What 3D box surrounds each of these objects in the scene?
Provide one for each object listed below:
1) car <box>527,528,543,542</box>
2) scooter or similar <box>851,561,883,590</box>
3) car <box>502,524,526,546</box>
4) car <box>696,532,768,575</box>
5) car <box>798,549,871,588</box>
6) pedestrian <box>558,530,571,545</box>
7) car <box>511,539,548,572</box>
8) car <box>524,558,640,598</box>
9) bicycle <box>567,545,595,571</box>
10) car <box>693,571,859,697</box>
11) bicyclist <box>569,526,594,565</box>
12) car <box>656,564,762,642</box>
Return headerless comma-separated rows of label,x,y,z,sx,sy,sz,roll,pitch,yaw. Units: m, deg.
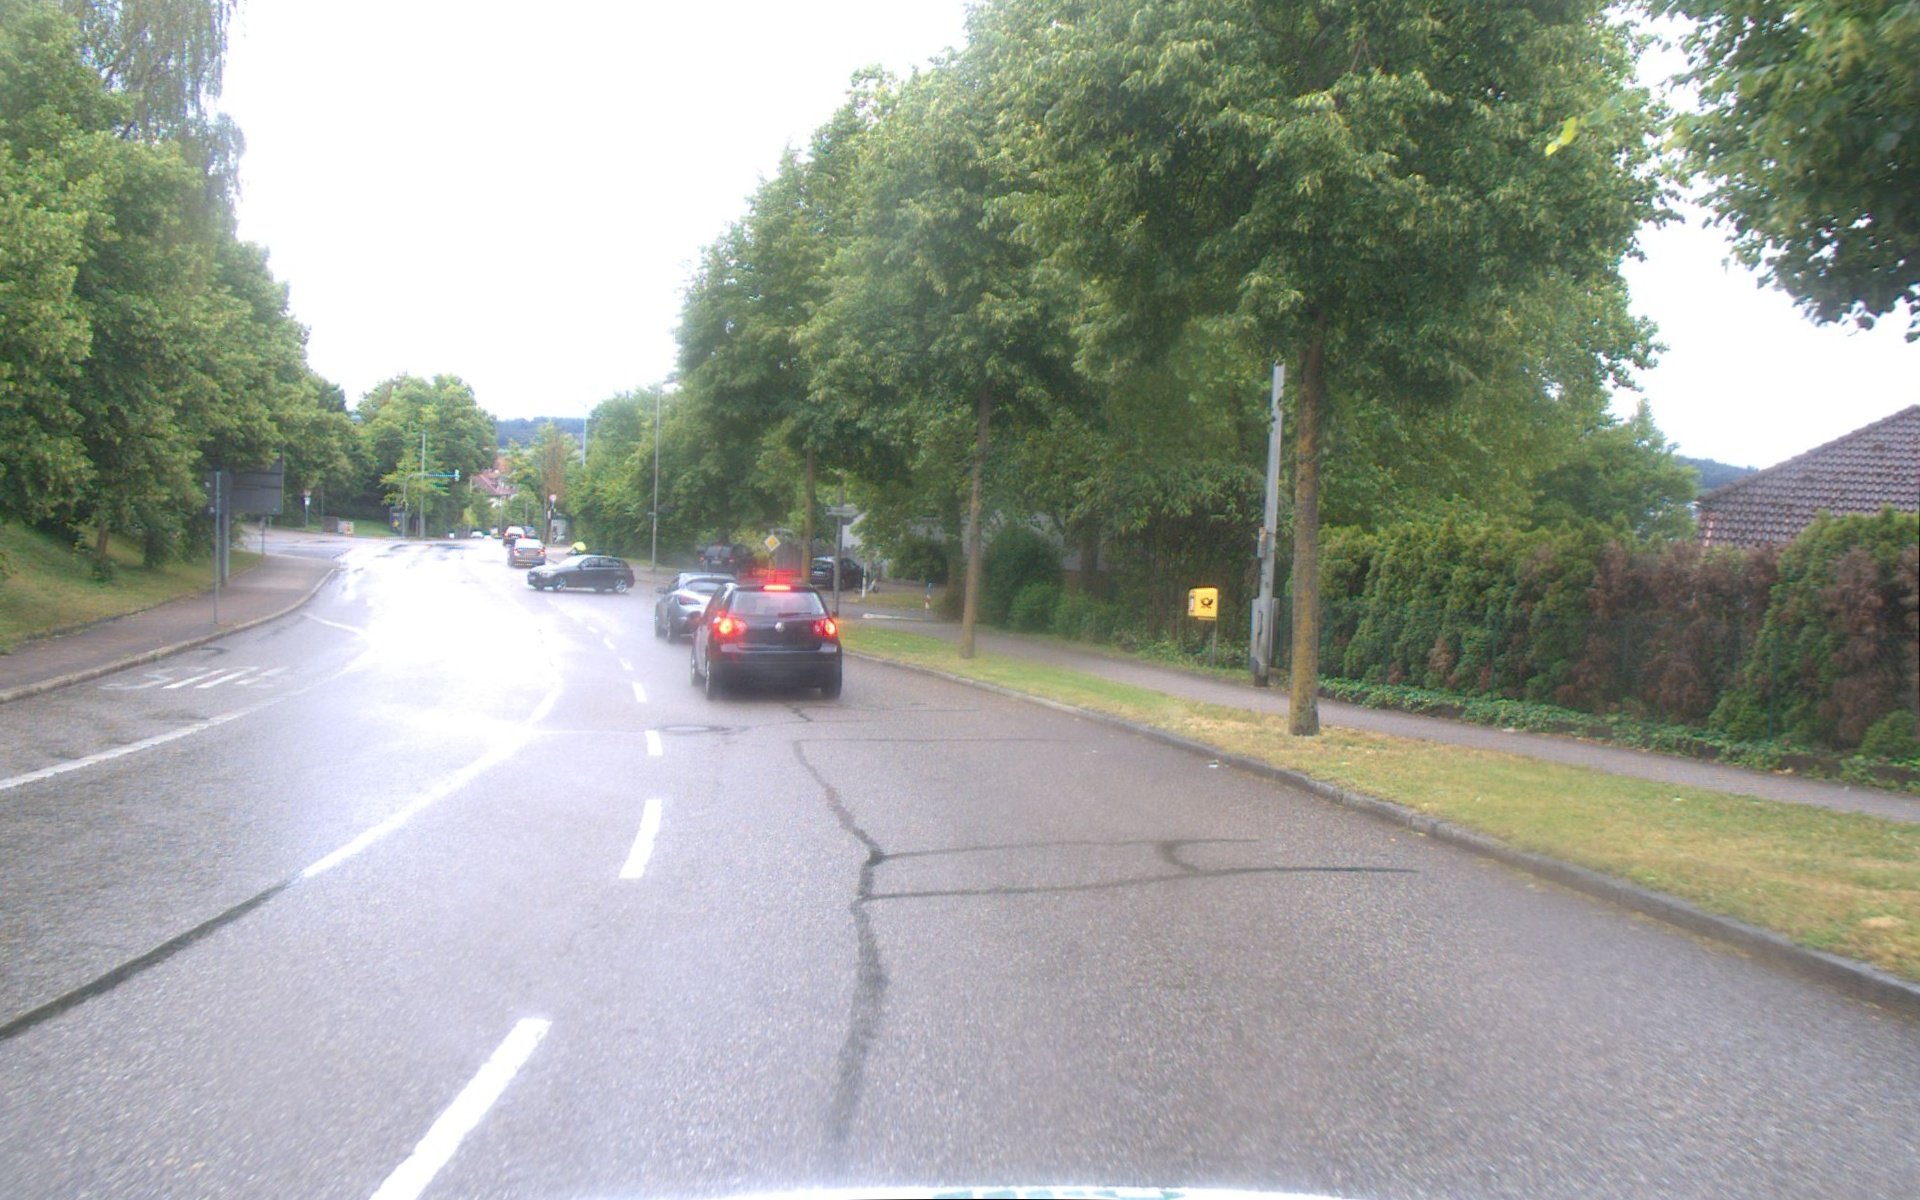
car,-50.929,-7.838,198.258,1.694,1.489,3.984,5,1,-16
scooter or similar,-4.312,-1.134,76.650,1.318,1.307,0.557,0,2,-24
car,-33.599,-4.895,124.610,1.693,1.489,3.984,2,2,-16
car,-10.944,-2.255,79.713,1.906,1.718,4.910,4,5,10
car,-5.903,-1.522,78.505,1.715,1.494,4.569,5,5,19
pedestrian,-37.201,-5.900,155.647,1.053,1.379,0.917,1,2,-8
car,-22.193,-2.295,85.194,1.694,1.489,3.984,5,1,-16
car,-14.788,-0.868,64.867,4.095,1.408,1.705,2,0,-37
bicycle,-17.628,-1.950,76.869,0.841,1.175,2.022,1,1,-25
car,-2.548,0.396,22.121,1.692,1.489,3.986,2,0,-14
bicyclist,-17.608,-2.528,76.852,0.841,1.786,1.276,1,1,-25
car,-5.478,0.021,35.682,1.726,1.489,3.983,1,2,-16
